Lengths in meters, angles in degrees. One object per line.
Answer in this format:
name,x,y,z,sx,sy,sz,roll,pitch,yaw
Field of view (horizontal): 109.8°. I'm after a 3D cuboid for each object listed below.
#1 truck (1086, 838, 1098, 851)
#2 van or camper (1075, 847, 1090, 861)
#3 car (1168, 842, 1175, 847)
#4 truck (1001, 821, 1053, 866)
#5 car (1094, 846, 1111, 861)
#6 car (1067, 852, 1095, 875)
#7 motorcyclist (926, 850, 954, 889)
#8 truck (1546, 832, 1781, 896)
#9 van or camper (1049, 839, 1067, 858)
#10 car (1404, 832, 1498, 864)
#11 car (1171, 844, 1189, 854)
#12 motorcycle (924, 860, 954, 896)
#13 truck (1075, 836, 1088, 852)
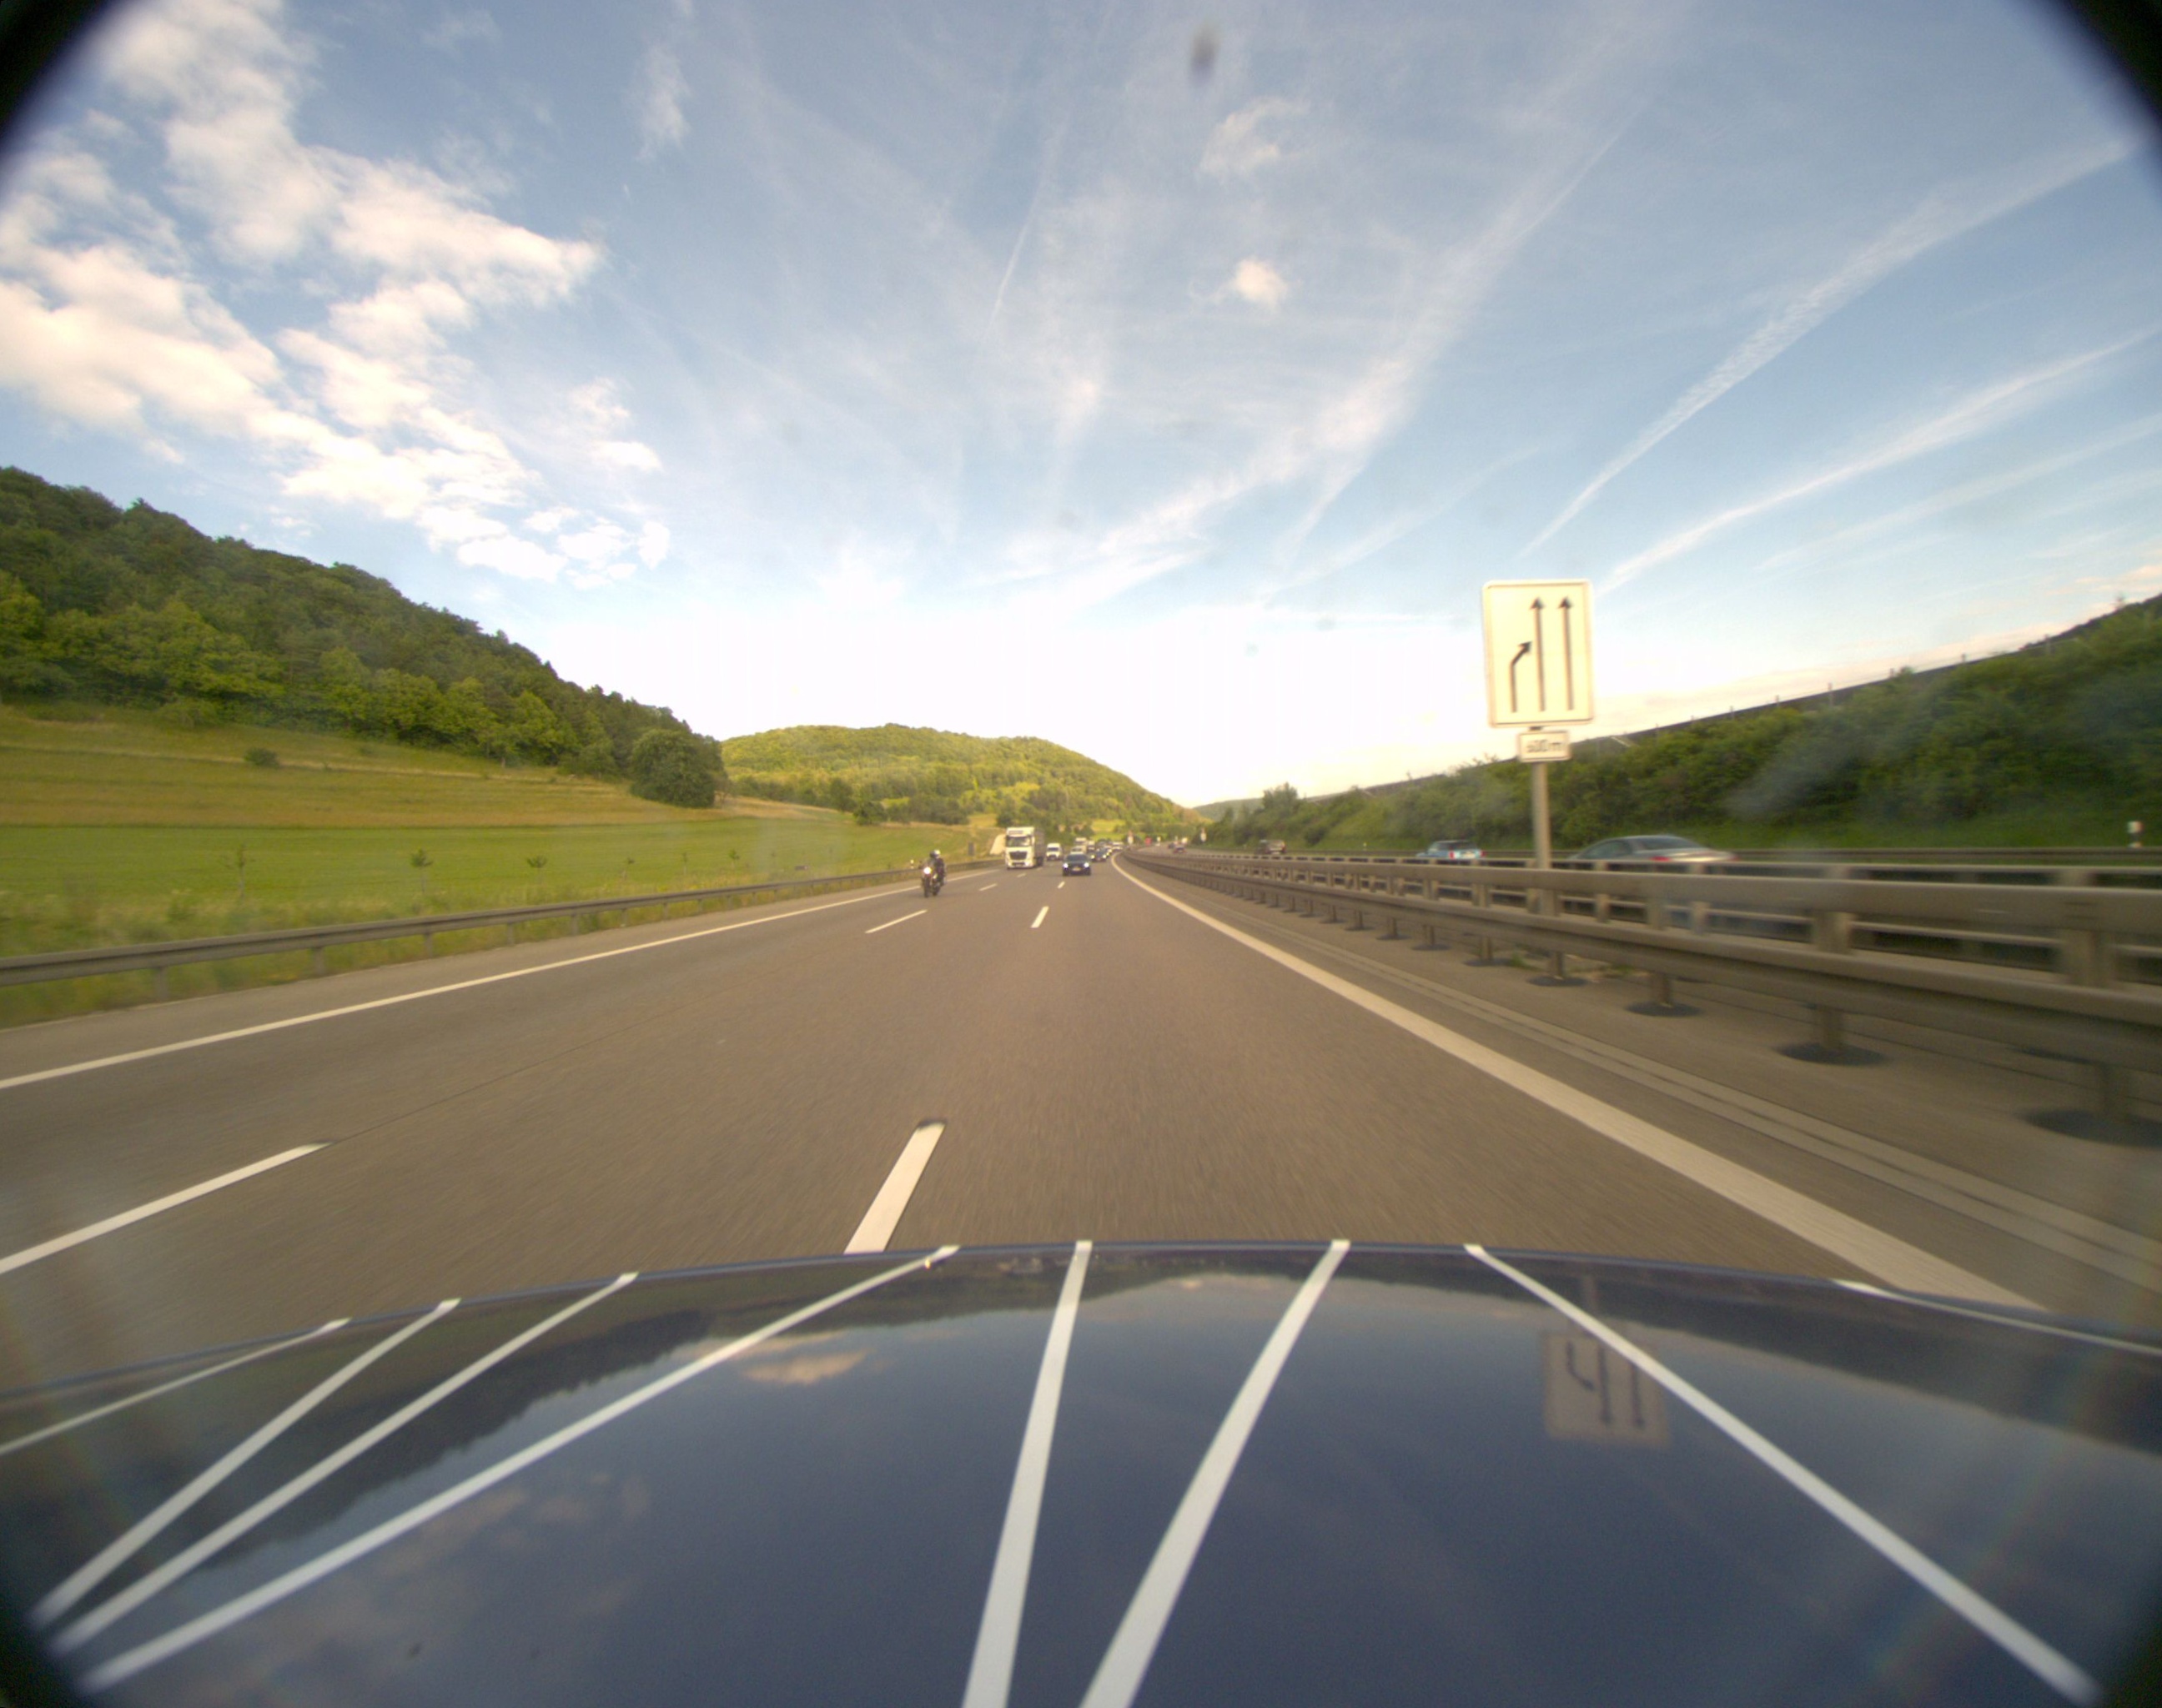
truck,3.220,-2.703,220.475,2.708,3.627,9.034,-2,1,3
van or camper,0.259,-0.076,111.346,1.998,1.881,4.487,-2,1,2
car,29.791,-3.051,250.223,1.710,1.407,4.000,-2,1,2
truck,-5.179,-1.066,77.257,2.971,3.969,17.732,-2,1,3
car,2.624,-0.068,94.755,1.998,1.871,4.000,-1,0,1
car,0.033,0.577,49.715,1.580,1.310,4.000,-2,1,3
motorcyclist,-5.655,0.626,30.511,0.879,1.506,0.797,-2,2,2
truck,12.459,0.185,16.637,1.999,1.215,3.999,-1,0,-2
van or camper,-3.426,-0.890,115.441,1.998,2.702,7.524,-2,1,4
car,16.342,-0.261,33.803,1.999,1.345,4.355,-1,0,-1
car,14.871,-0.731,114.211,1.999,1.422,4.585,-3,1,-1
motorcycle,-5.659,0.940,30.348,0.628,1.331,1.740,-2,1,7
truck,0.008,-2.486,188.659,2.925,3.876,13.006,-2,1,-1
